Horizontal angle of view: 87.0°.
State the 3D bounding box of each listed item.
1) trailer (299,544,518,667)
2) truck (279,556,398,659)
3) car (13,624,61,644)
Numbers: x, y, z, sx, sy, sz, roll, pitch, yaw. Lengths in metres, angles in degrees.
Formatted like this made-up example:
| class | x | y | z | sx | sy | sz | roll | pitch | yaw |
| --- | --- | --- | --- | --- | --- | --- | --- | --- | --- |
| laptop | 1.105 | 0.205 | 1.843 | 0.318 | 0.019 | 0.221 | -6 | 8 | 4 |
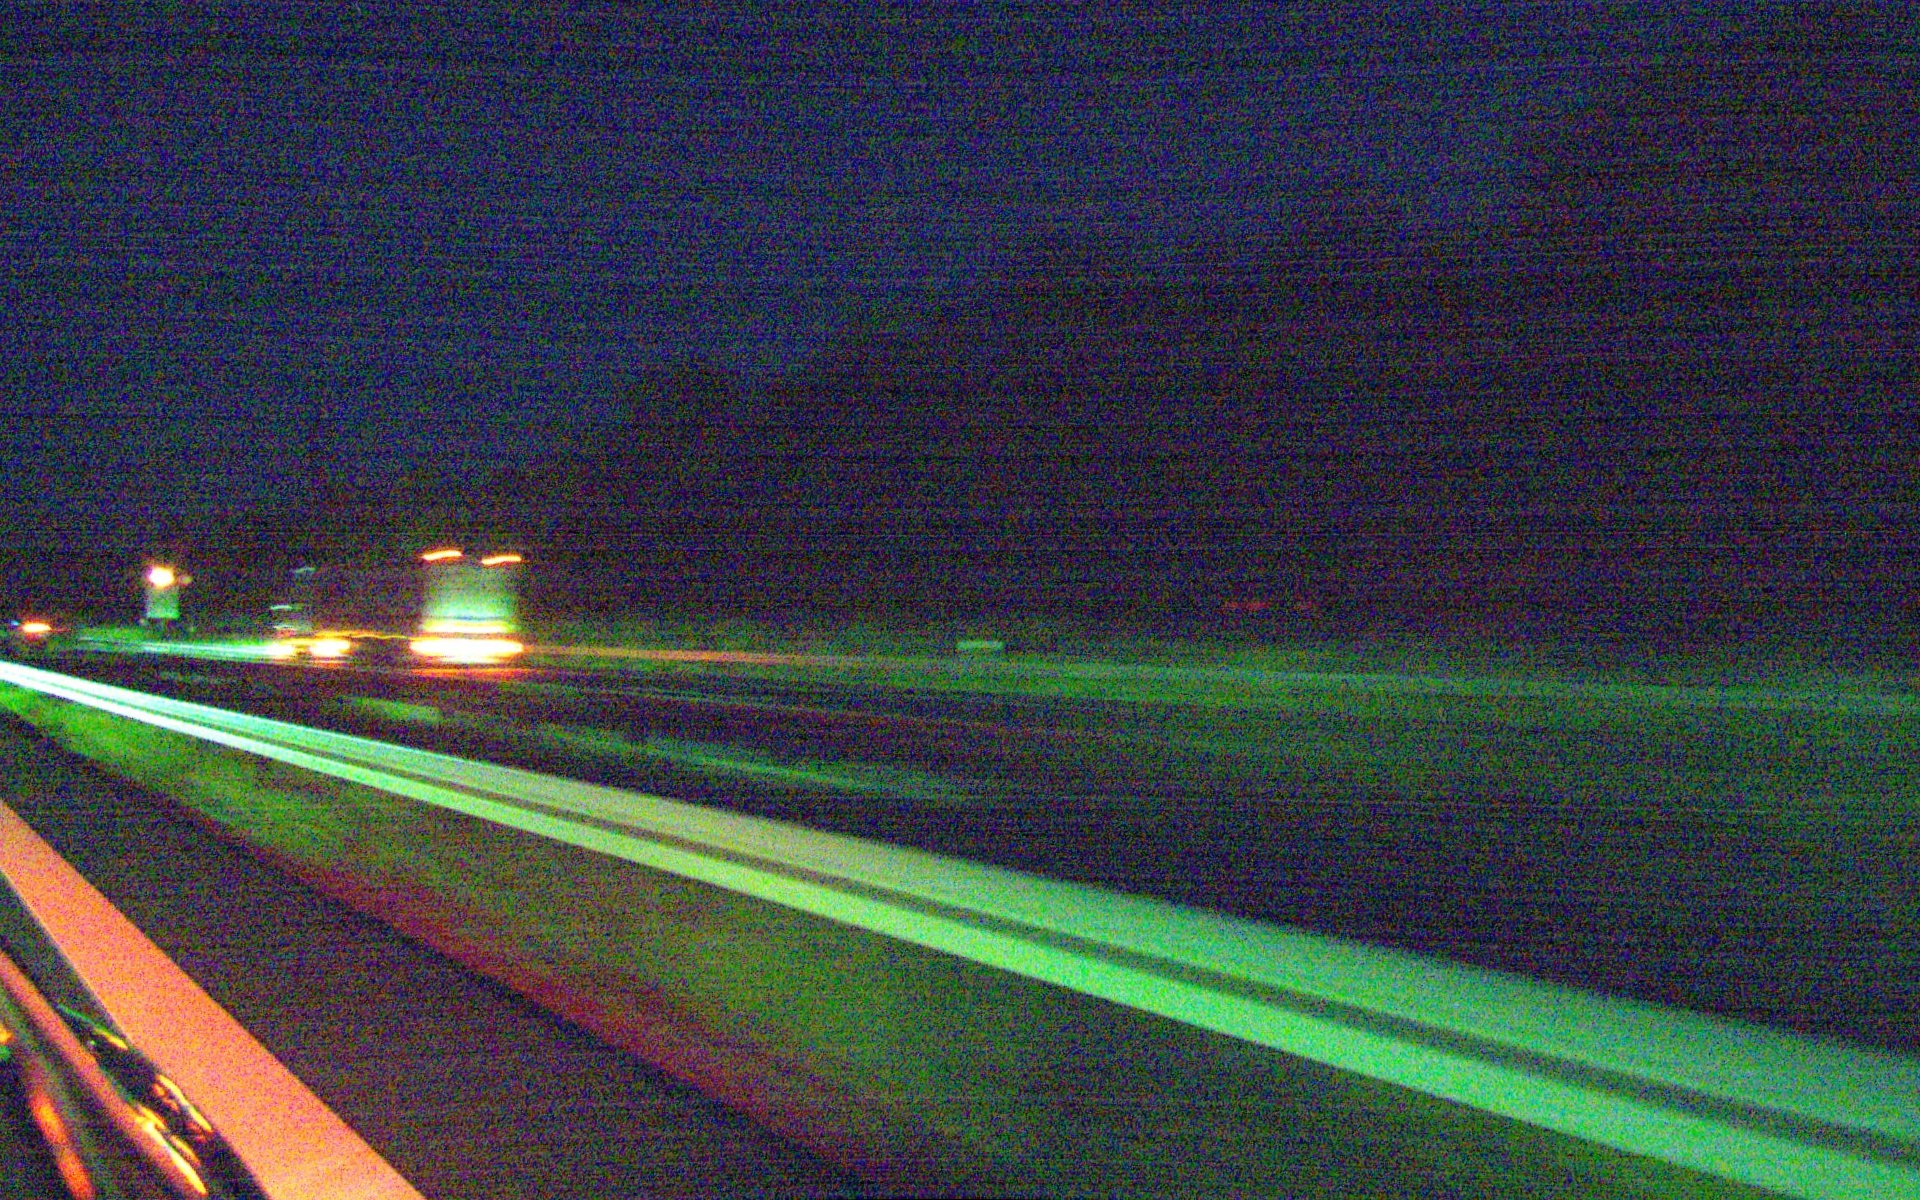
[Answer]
| class | x | y | z | sx | sy | sz | roll | pitch | yaw |
| --- | --- | --- | --- | --- | --- | --- | --- | --- | --- |
| trailer | -22.301 | 0.325 | 40.237 | 13.896 | 4.208 | 2.830 | -1 | -3 | 41 |
| truck | -27.505 | 0.399 | 44.737 | 5.822 | 4.244 | 2.725 | -1 | -3 | 41 |
| car | -70.669 | 2.579 | 77.462 | 4.686 | 1.472 | 1.974 | -1 | -3 | 39 |
